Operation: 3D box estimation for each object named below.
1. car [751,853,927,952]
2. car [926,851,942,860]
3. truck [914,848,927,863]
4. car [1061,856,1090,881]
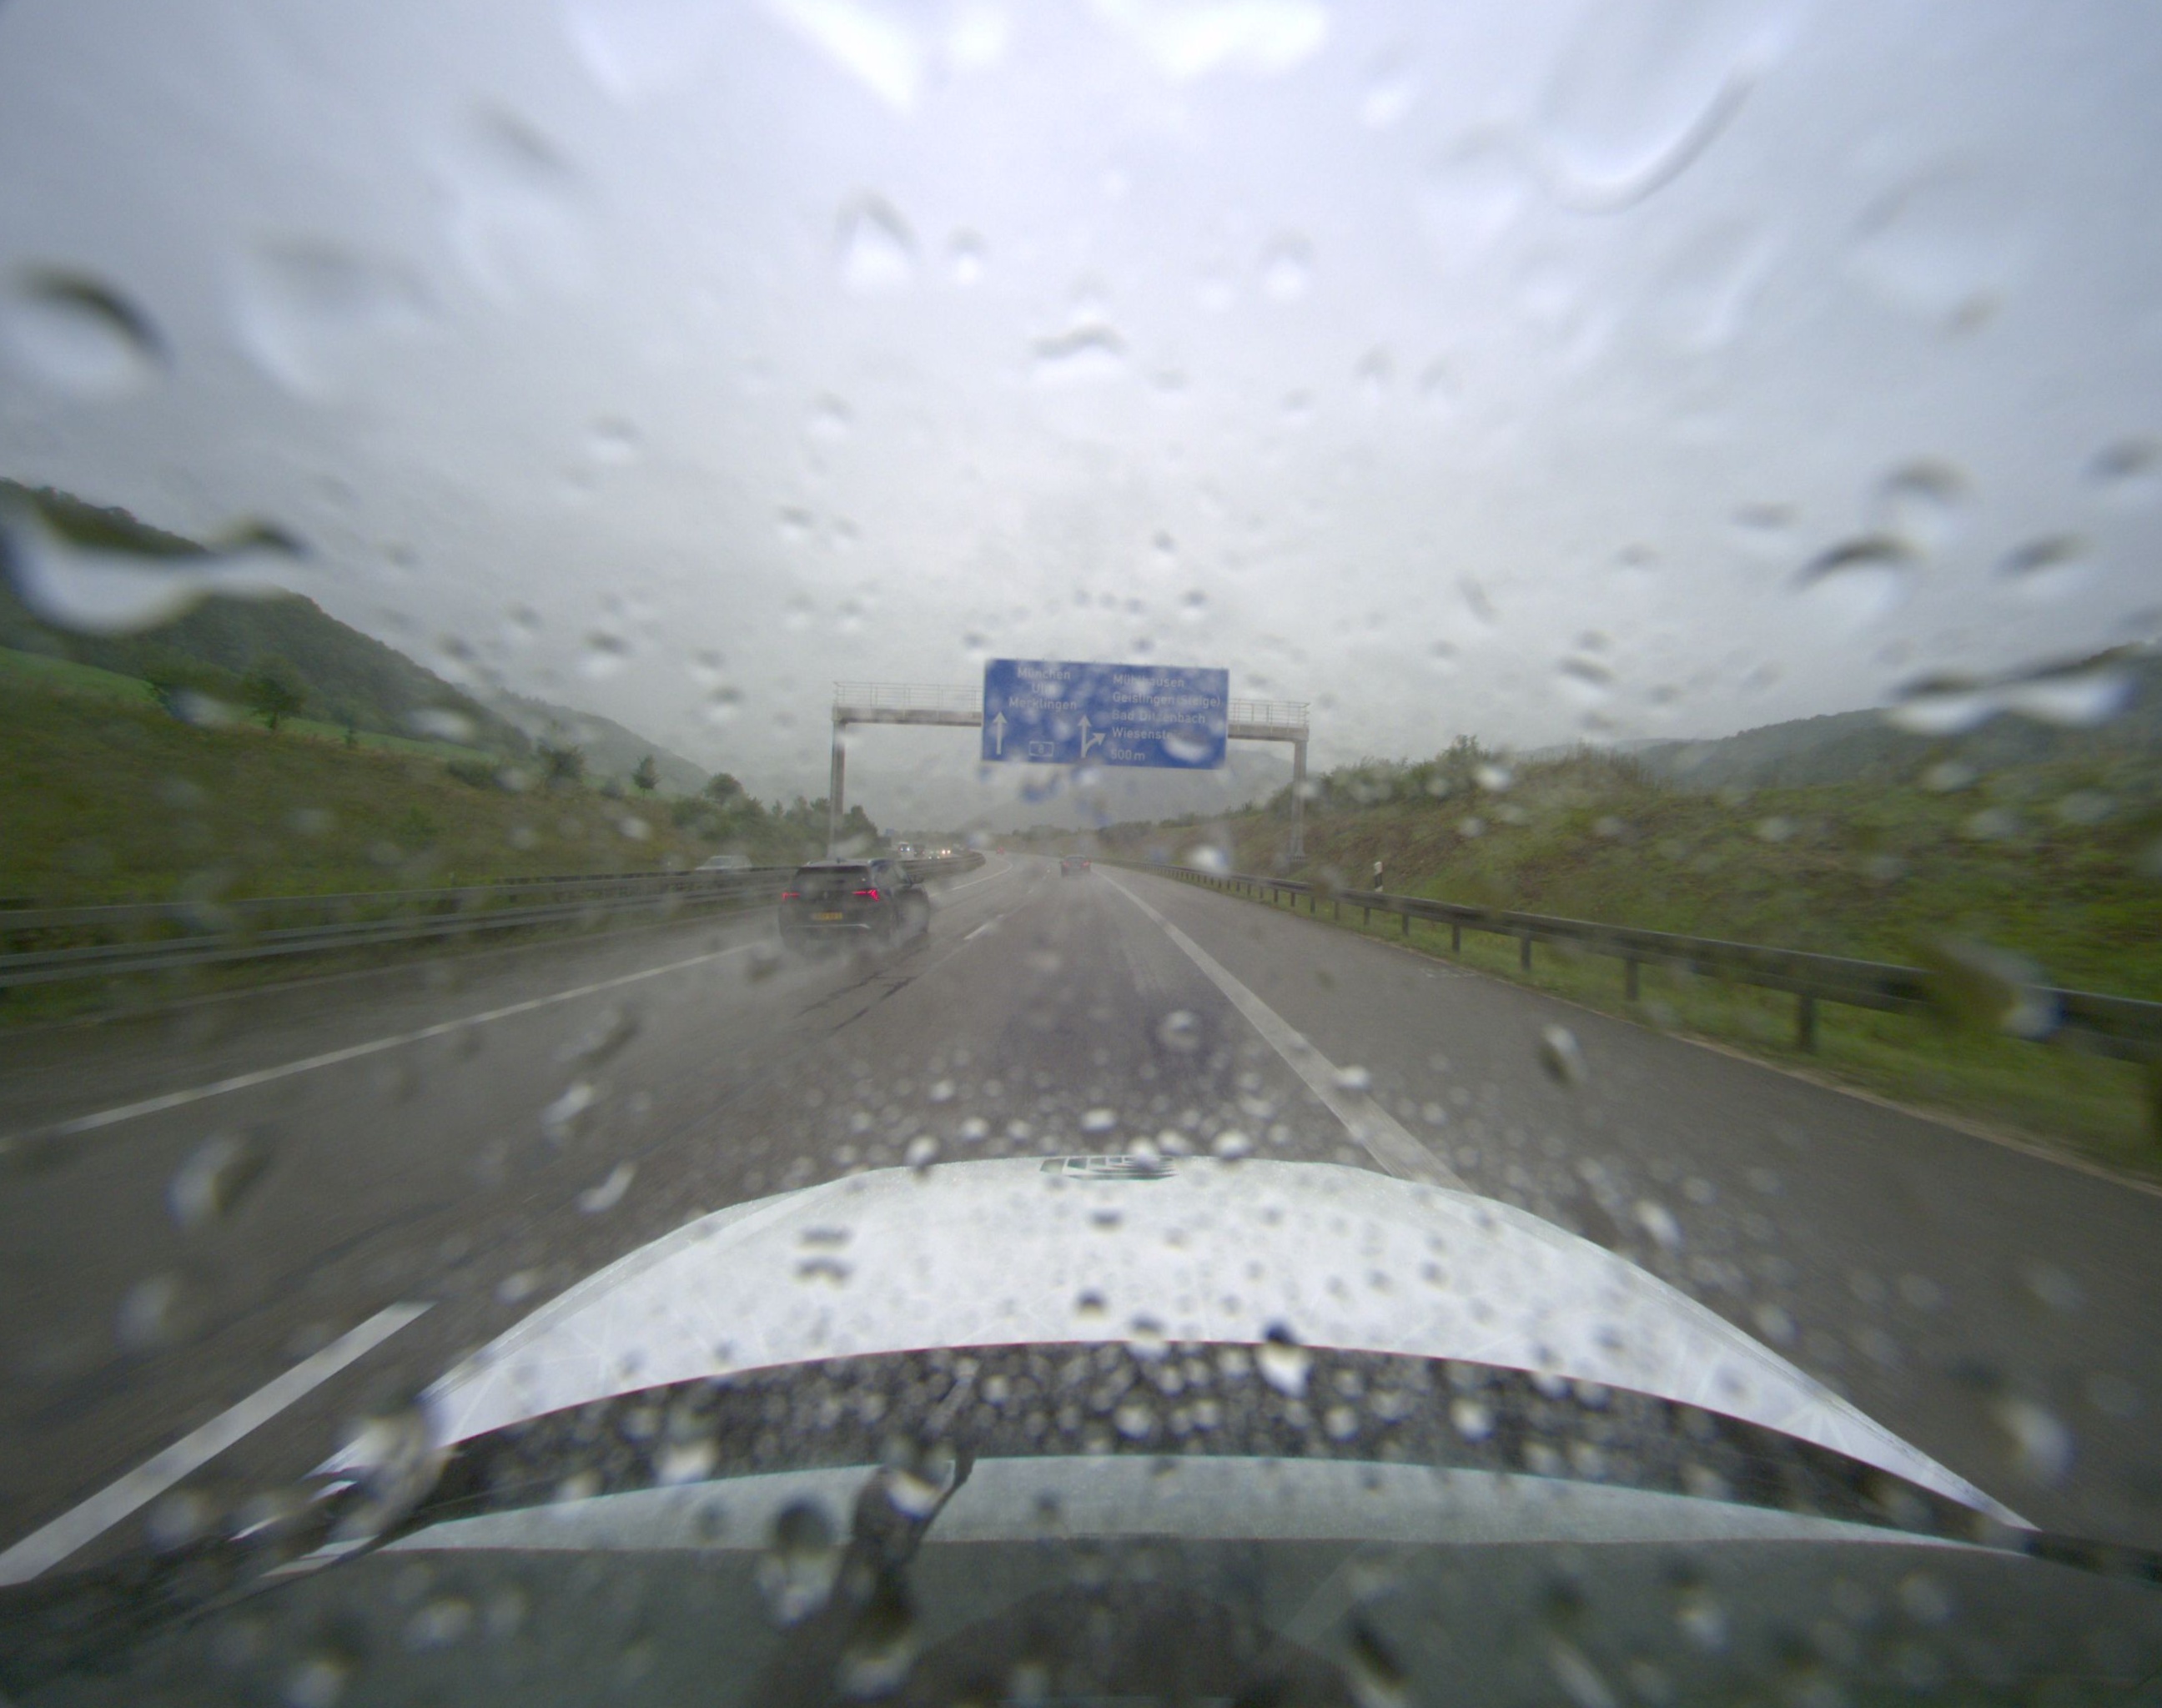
[{"bbox_3d":[-4.204,0.759,15.068,2.404,1.515,4.771,1,0,-8],"label":"car"},{"bbox_3d":[-25.113,0.226,139.396,1.987,1.519,3.999,1,0,0],"label":"car"},{"bbox_3d":[-38.967,0.331,198.083,2.714,3.542,5.296,-1,0,-8],"label":"truck"},{"bbox_3d":[-0.314,0.875,51.086,1.672,1.472,3.816,1,0,2],"label":"car"}]
